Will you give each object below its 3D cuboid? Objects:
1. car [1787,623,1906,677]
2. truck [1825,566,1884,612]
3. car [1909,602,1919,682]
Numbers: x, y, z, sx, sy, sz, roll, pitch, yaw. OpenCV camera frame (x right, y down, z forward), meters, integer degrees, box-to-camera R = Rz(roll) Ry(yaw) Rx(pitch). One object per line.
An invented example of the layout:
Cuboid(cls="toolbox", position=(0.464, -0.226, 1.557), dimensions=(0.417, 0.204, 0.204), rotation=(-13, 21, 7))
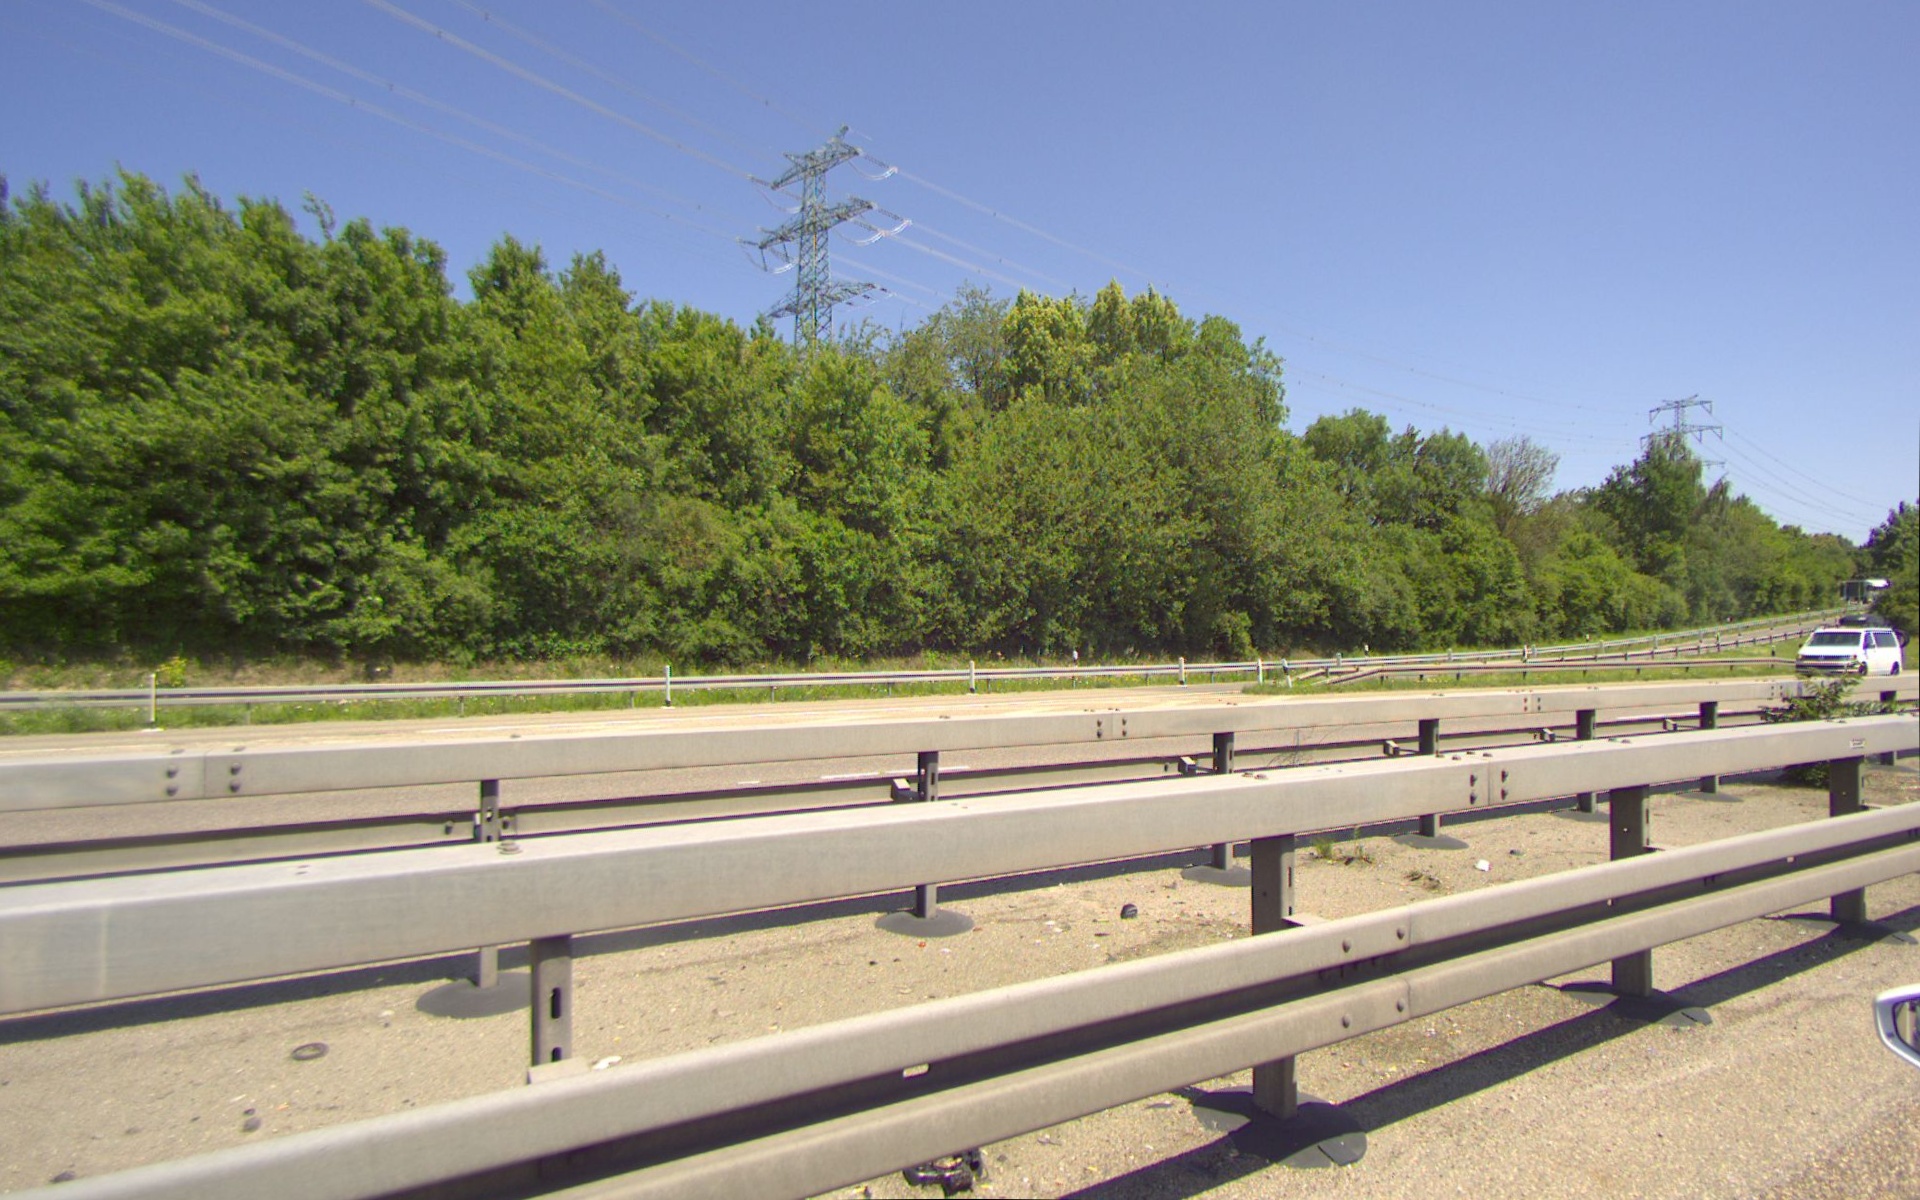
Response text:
Cuboid(cls="car", position=(33.489, 1.901, 37.908), dimensions=(5.431, 1.929, 1.855), rotation=(2, -3, -32))
Cuboid(cls="truck", position=(152.009, -1.789, 170.963), dimensions=(4.603, 7.324, 13.616), rotation=(2, 0, 30))
Cuboid(cls="car", position=(34.929, 1.418, 34.292), dimensions=(5.772, 2.684, 2.043), rotation=(2, -5, -31))
